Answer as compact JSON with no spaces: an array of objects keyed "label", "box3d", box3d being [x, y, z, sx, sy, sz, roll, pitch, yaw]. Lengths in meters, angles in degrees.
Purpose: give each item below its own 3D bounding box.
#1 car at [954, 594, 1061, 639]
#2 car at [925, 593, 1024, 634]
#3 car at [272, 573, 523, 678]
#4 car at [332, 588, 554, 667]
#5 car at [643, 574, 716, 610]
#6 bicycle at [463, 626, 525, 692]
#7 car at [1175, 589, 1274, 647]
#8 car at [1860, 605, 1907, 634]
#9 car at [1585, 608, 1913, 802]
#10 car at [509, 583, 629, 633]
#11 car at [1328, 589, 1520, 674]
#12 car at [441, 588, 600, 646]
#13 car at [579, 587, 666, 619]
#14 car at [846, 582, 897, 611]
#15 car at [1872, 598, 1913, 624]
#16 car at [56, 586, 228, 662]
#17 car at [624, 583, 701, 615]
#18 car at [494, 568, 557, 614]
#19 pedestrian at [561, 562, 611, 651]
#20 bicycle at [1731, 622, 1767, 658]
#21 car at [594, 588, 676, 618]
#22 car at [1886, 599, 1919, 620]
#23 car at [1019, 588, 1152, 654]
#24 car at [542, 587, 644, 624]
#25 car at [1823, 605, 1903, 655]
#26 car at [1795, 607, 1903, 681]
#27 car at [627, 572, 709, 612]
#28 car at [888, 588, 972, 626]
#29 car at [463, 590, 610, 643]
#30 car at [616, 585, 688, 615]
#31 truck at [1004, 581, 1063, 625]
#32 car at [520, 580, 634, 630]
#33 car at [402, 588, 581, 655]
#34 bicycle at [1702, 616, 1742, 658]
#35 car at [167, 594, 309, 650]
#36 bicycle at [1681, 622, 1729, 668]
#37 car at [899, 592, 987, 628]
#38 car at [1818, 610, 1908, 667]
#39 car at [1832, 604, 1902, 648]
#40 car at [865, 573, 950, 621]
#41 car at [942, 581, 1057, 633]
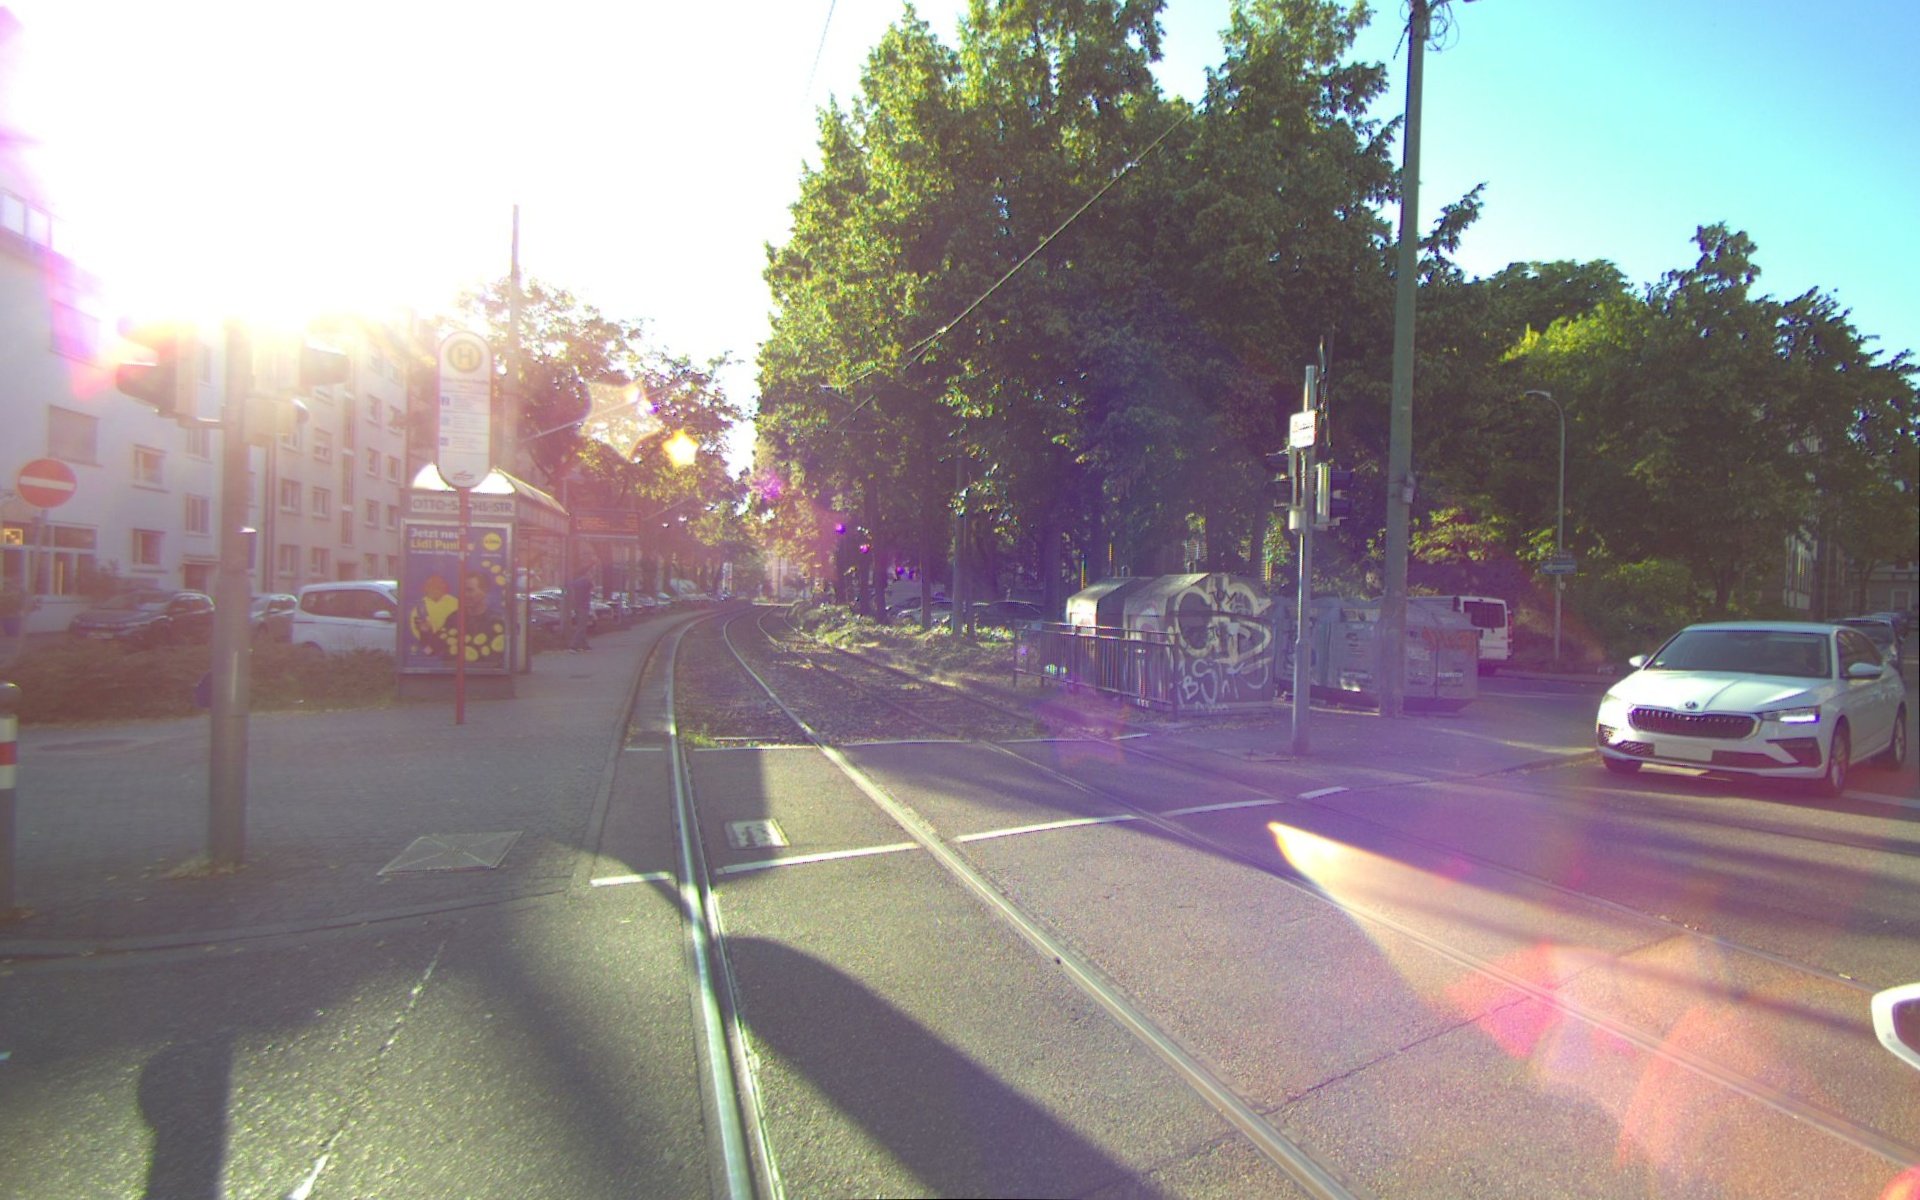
[{"label":"car","box3d":[1.801,0.607,37.252,3.752,1.409,1.739,4,-1,8]},{"label":"car","box3d":[0.608,0.553,40.571,3.752,1.409,1.739,4,-1,8]},{"label":"car","box3d":[-10.319,0.470,18.453,4.158,1.675,1.607,-3,1,19]},{"label":"car","box3d":[-11.220,0.577,21.892,4.121,1.456,1.701,-3,1,13]},{"label":"car","box3d":[-22.883,-0.652,81.909,5.164,2.606,2.273,-3,1,17]},{"label":"bicycle","box3d":[-6.470,0.797,13.992,0.442,0.794,1.638,1,1,-13]},{"label":"car","box3d":[9.284,0.584,35.520,1.551,1.929,3.887,1,1,-17]},{"label":"car","box3d":[53.947,1.095,58.658,1.807,1.520,3.906,6,4,44]},{"label":"car","box3d":[7.832,0.844,9.849,4.027,1.476,1.688,0,1,-39]},{"label":"car","box3d":[-15.007,0.322,38.568,4.162,1.673,1.856,-3,1,25]},{"label":"car","box3d":[12.141,0.744,26.665,1.920,2.030,4.638,1,1,-20]},{"label":"car","box3d":[-13.159,0.489,30.117,4.156,1.478,1.608,-3,1,13]},{"label":"car","box3d":[-18.607,0.180,55.368,4.157,1.493,1.858,-3,1,17]},{"label":"car","box3d":[-7.747,-0.274,88.011,4.011,2.239,1.820,3,-1,19]},{"label":"car","box3d":[61.787,0.714,66.533,1.807,1.520,3.906,6,4,44]},{"label":"car","box3d":[-19.955,0.517,24.731,1.687,1.695,3.989,0,1,-14]},{"label":"car","box3d":[-18.495,-0.081,62.504,4.157,1.721,1.858,-3,1,17]},{"label":"car","box3d":[-28.590,-0.622,66.294,2.514,2.926,5.472,0,1,-9]},{"label":"pedestrian","box3d":[-8.286,0.134,22.283,0.835,1.936,0.837,0,1,-5]},{"label":"bicycle","box3d":[26.123,1.296,33.224,2.610,1.116,0.591,0,1,-45]},{"label":"car","box3d":[-18.889,0.149,58.462,4.157,1.493,1.858,-3,1,17]},{"label":"car","box3d":[84.822,0.849,90.245,1.969,1.706,3.983,3,0,38]},{"label":"car","box3d":[3.615,0.566,28.652,3.546,1.583,1.608,4,1,12]},{"label":"car","box3d":[-17.249,0.261,47.214,4.157,1.493,1.858,-3,1,17]},{"label":"car","box3d":[31.466,0.992,34.978,1.807,1.498,3.906,6,4,44]},{"label":"car","box3d":[23.170,1.057,26.129,1.807,1.636,4.264,6,4,44]},{"label":"car","box3d":[-21.306,-0.606,73.317,5.164,2.606,2.273,-3,1,17]},{"label":"car","box3d":[-1.446,0.350,49.095,3.752,1.608,1.739,4,-1,8]},{"label":"car","box3d":[-13.696,0.533,32.540,4.156,1.478,1.608,-3,1,13]},{"label":"car","box3d":[-20.619,-0.010,67.285,4.157,1.721,1.858,-3,1,17]},{"label":"truck","box3d":[4.196,0.151,58.204,2.332,2.384,4.374,1,0,-11]},{"label":"car","box3d":[-15.567,0.207,40.825,4.162,1.772,1.856,-3,1,25]},{"label":"car","box3d":[-12.500,0.559,26.846,4.156,1.528,1.608,-3,1,13]},{"label":"bicycle","box3d":[21.664,1.028,28.525,0.590,1.116,2.611,1,1,44]},{"label":"car","box3d":[-20.864,0.578,29.223,1.685,1.465,3.993,0,1,-9]},{"label":"bicycle","box3d":[19.757,1.164,26.611,2.609,1.116,0.591,0,1,-44]},{"label":"car","box3d":[-0.763,0.470,46.409,3.752,1.440,1.739,4,-1,8]},{"label":"car","box3d":[27.765,1.128,30.850,1.807,1.466,3.906,6,4,44]},{"label":"car","box3d":[35.814,0.982,39.626,1.807,1.520,3.906,6,4,44]},{"label":"car","box3d":[-3.055,-0.180,58.287,4.411,2.509,1.820,3,-1,19]},{"label":"car","box3d":[1.400,0.257,34.908,3.752,1.516,1.739,4,-1,8]}]
